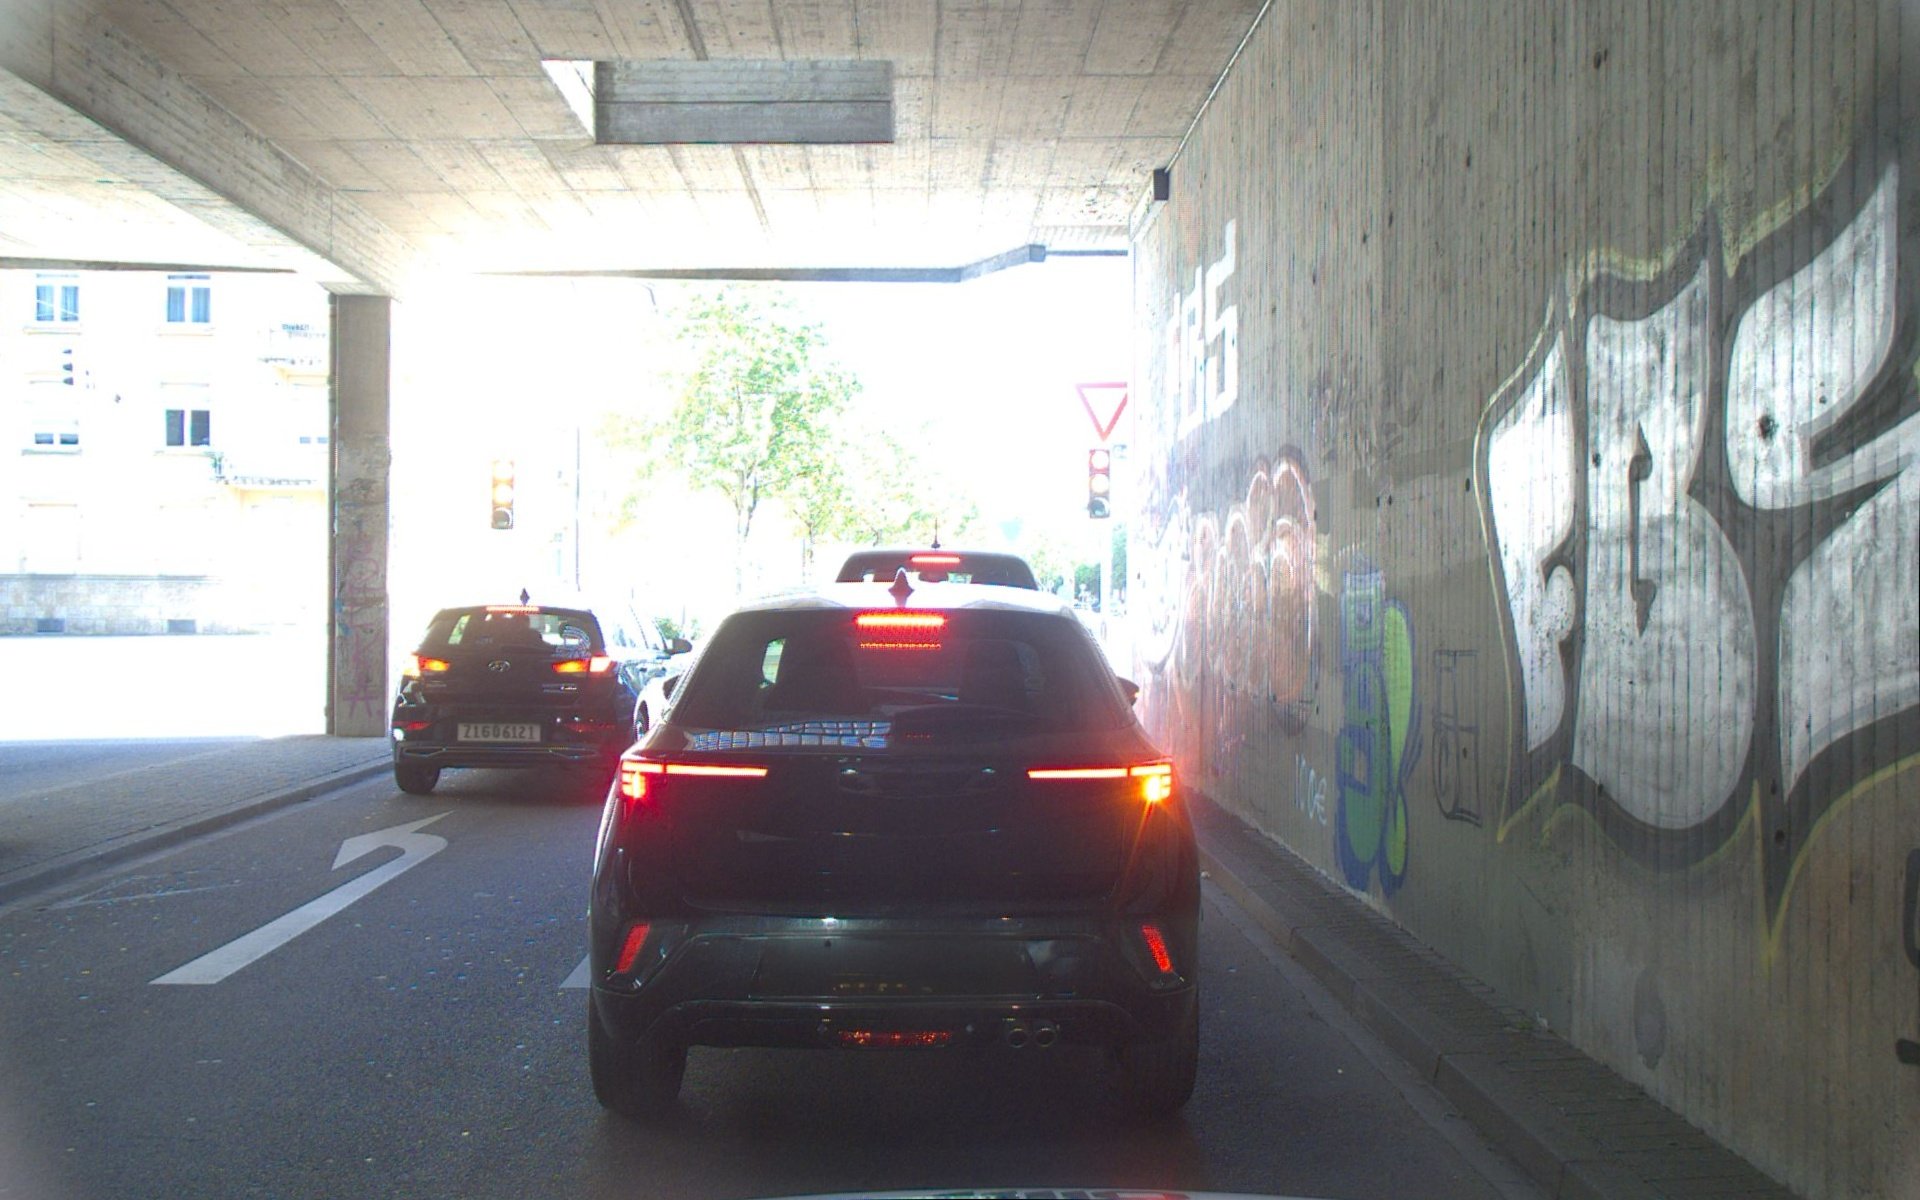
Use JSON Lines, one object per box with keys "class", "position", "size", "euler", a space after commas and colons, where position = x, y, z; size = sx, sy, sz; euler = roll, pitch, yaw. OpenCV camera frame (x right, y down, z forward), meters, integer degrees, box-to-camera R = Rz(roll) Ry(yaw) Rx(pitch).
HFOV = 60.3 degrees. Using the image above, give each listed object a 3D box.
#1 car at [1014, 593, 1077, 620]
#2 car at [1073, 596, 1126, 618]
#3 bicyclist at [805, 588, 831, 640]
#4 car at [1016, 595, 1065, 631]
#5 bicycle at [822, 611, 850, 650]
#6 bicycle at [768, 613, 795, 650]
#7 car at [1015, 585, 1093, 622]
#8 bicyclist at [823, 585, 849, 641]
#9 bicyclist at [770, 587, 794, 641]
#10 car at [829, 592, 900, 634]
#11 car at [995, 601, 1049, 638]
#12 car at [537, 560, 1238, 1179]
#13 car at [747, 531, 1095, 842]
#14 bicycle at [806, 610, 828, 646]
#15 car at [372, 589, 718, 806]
{"class": "car", "position": [6.941, 0.518, 134.325], "size": [4.822, 2.119, 1.969], "euler": [0, -1, -26]}
{"class": "car", "position": [13.567, 0.696, 161.376], "size": [4.802, 2.119, 1.978], "euler": [0, -1, -15]}
{"class": "bicyclist", "position": [-4.688, 0.444, 54.583], "size": [0.766, 1.689, 1.031], "euler": [0, 0, 1]}
{"class": "car", "position": [3.703, 0.577, 75.190], "size": [1.668, 1.539, 3.866], "euler": [-2, 0, 11]}
{"class": "bicycle", "position": [-3.876, 0.934, 51.832], "size": [0.683, 1.109, 1.861], "euler": [0, 2, 2]}
{"class": "bicycle", "position": [-5.536, 0.966, 51.397], "size": [0.514, 1.109, 1.861], "euler": [0, 0, 4]}
{"class": "car", "position": [6.599, 0.240, 116.100], "size": [5.175, 2.590, 1.977], "euler": [0, -1, -16]}
{"class": "bicyclist", "position": [-3.890, 0.403, 51.973], "size": [0.730, 1.741, 0.967], "euler": [0, 2, 2]}
{"class": "bicyclist", "position": [-5.535, 0.440, 51.462], "size": [0.593, 1.661, 0.910], "euler": [0, 0, 4]}
{"class": "car", "position": [-3.404, 0.430, 59.461], "size": [1.622, 1.466, 3.466], "euler": [0, 0, 13]}
{"class": "car", "position": [2.616, 0.799, 68.716], "size": [1.671, 1.477, 3.854], "euler": [0, 0, 11]}
{"class": "car", "position": [-0.205, 0.674, 6.040], "size": [1.745, 1.544, 3.755], "euler": [1, 0, -1]}
{"class": "car", "position": [-0.282, 0.510, 12.430], "size": [2.090, 1.867, 4.939], "euler": [0, 0, -1]}
{"class": "bicycle", "position": [-4.705, 0.903, 54.525], "size": [0.530, 1.142, 2.059], "euler": [0, 0, 1]}
{"class": "car", "position": [-3.155, 0.654, 13.489], "size": [1.764, 1.476, 4.325], "euler": [0, 0, -1]}
